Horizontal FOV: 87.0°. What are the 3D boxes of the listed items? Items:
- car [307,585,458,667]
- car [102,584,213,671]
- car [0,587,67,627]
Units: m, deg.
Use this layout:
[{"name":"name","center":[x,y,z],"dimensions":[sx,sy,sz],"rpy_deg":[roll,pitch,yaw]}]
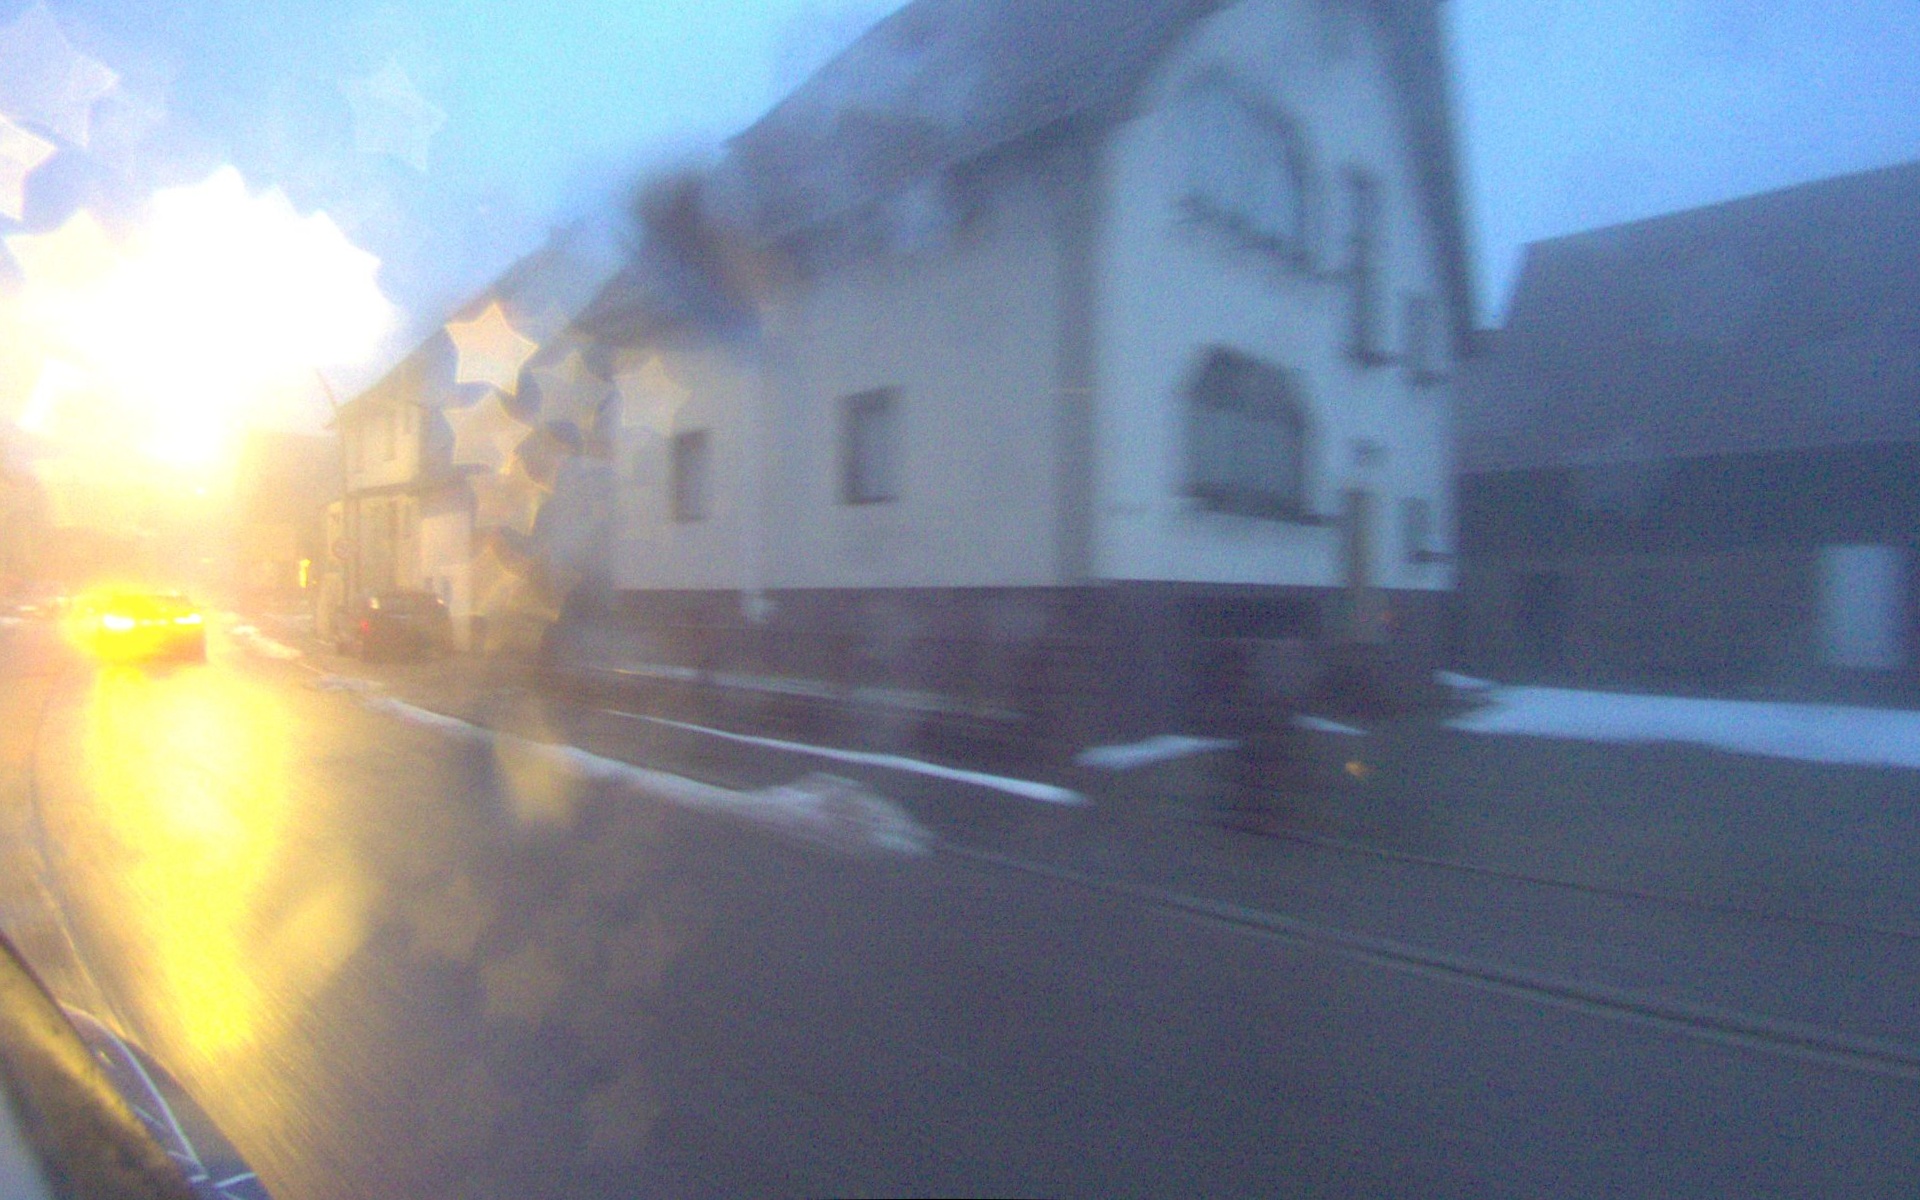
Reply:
[{"name":"car","center":[-12.552,0.505,21.880],"dimensions":[1.970,1.534,4.196],"rpy_deg":[-3,1,-42]},{"name":"car","center":[-18.304,0.539,23.006],"dimensions":[1.818,1.700,4.486],"rpy_deg":[0,2,-40]},{"name":"car","center":[-37.939,0.244,41.221],"dimensions":[1.885,1.492,4.293],"rpy_deg":[0,1,-36]}]
